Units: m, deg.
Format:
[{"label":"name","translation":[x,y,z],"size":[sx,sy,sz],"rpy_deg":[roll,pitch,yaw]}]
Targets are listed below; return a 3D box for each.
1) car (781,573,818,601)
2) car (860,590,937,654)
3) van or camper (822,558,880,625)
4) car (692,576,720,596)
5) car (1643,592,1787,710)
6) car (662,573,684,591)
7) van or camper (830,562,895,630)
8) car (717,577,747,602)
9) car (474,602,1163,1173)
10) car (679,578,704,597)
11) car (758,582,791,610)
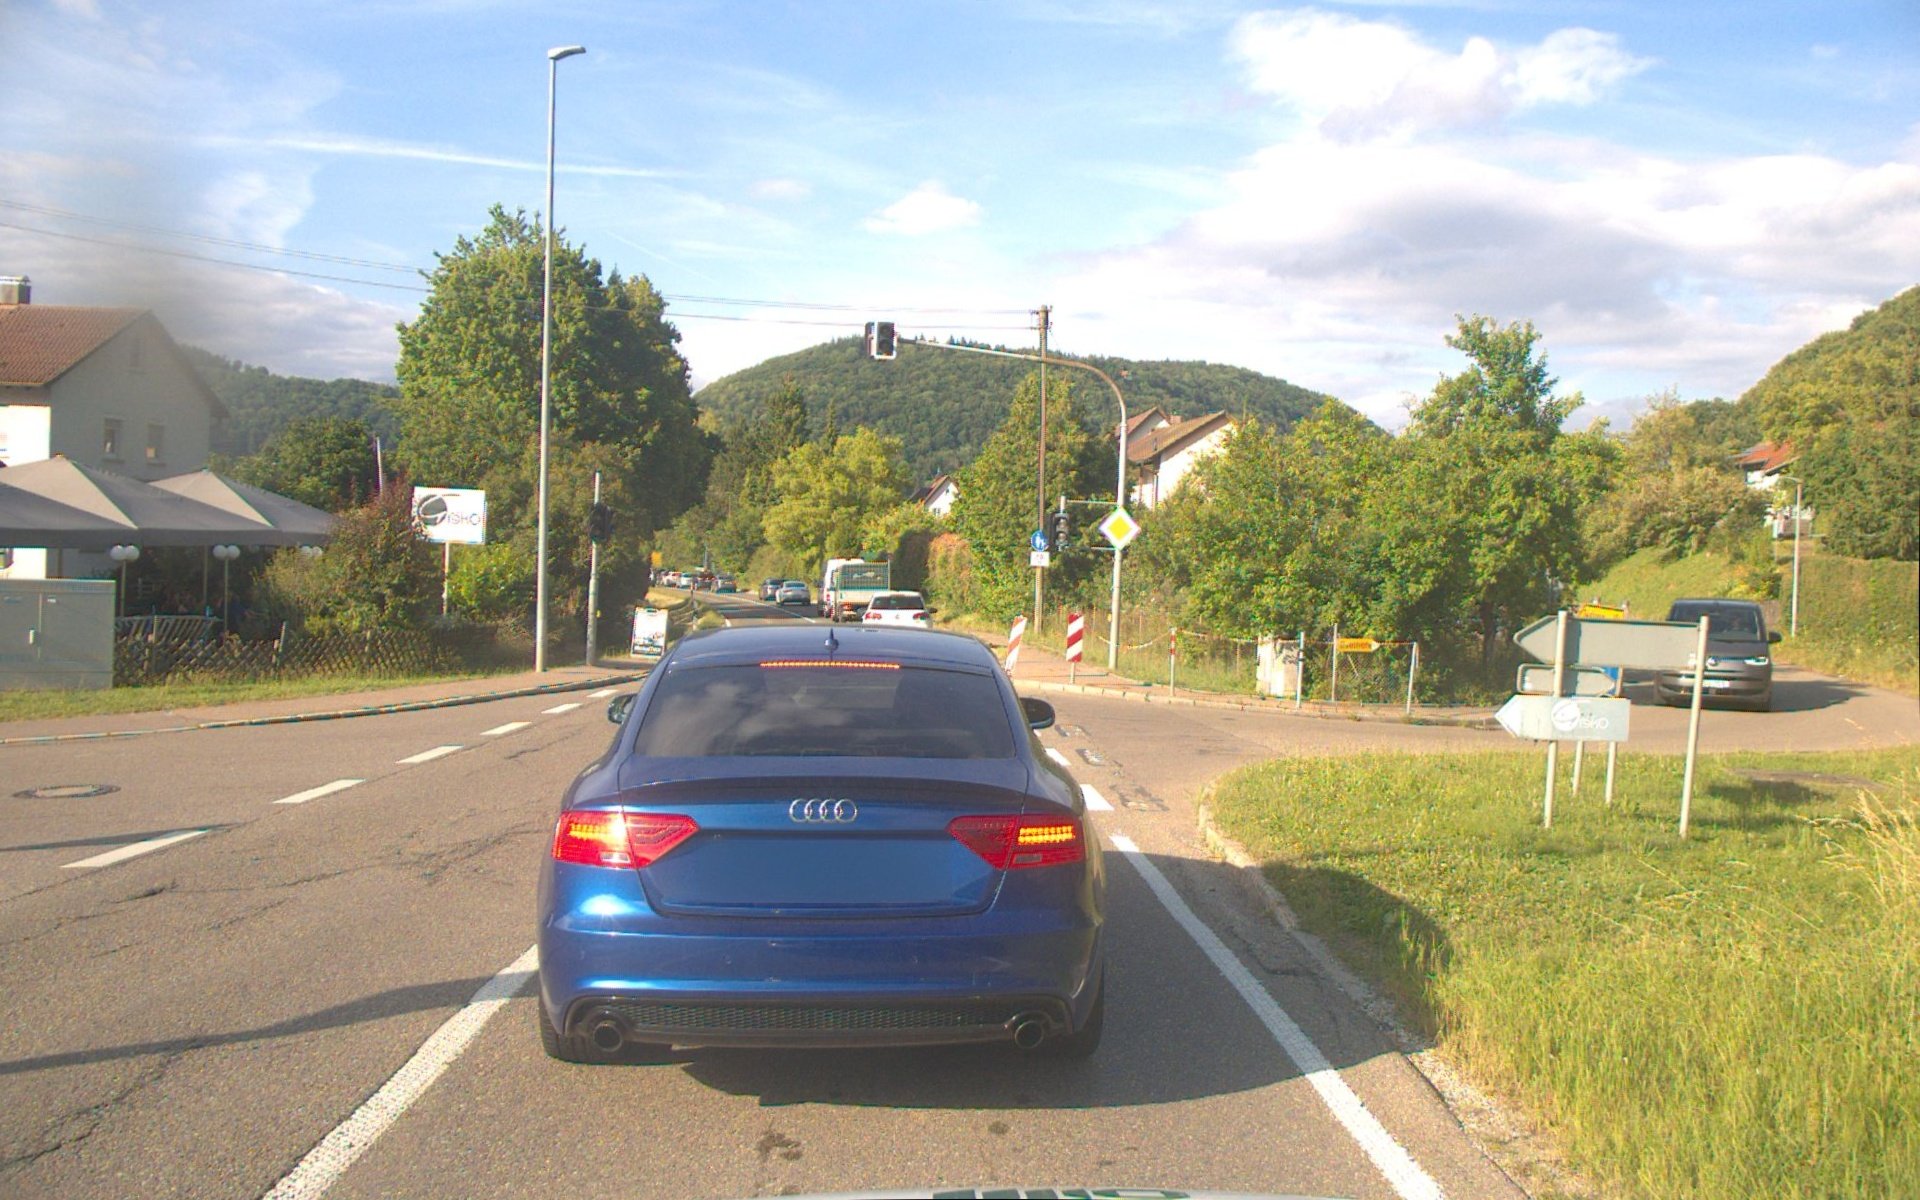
[{"label":"car","translation":[-9.601,-0.785,98.498],"size":[1.787,1.579,3.989],"rpy_deg":[0,1,-11]},{"label":"car","translation":[-1.521,0.503,40.935],"size":[1.736,1.439,4.172],"rpy_deg":[2,0,-2]},{"label":"van or camper","translation":[-5.078,-0.436,76.379],"size":[2.369,2.955,6.123],"rpy_deg":[0,1,-7]},{"label":"car","translation":[-22.691,-1.251,147.513],"size":[2.007,1.713,3.983],"rpy_deg":[0,1,-16]},{"label":"car","translation":[13.947,0.863,30.796],"size":[1.952,1.909,4.872],"rpy_deg":[3,1,20]},{"label":"car","translation":[-28.611,-1.799,164.714],"size":[1.720,1.814,3.983],"rpy_deg":[0,1,-16]},{"label":"van or camper","translation":[-3.721,-0.197,62.066],"size":[2.138,2.426,5.362],"rpy_deg":[0,1,-7]},{"label":"car","translation":[-18.987,-0.898,137.538],"size":[1.960,2.049,3.985],"rpy_deg":[0,1,-15]},{"label":"car","translation":[-0.448,0.748,6.449],"size":[1.793,1.433,4.224],"rpy_deg":[0,0,-2]},{"label":"car","translation":[-25.310,-1.190,156.041],"size":[1.910,1.713,3.983],"rpy_deg":[0,0,-16]},{"label":"car","translation":[-12.367,-0.302,110.096],"size":[1.765,1.825,3.988],"rpy_deg":[0,1,-12]}]
